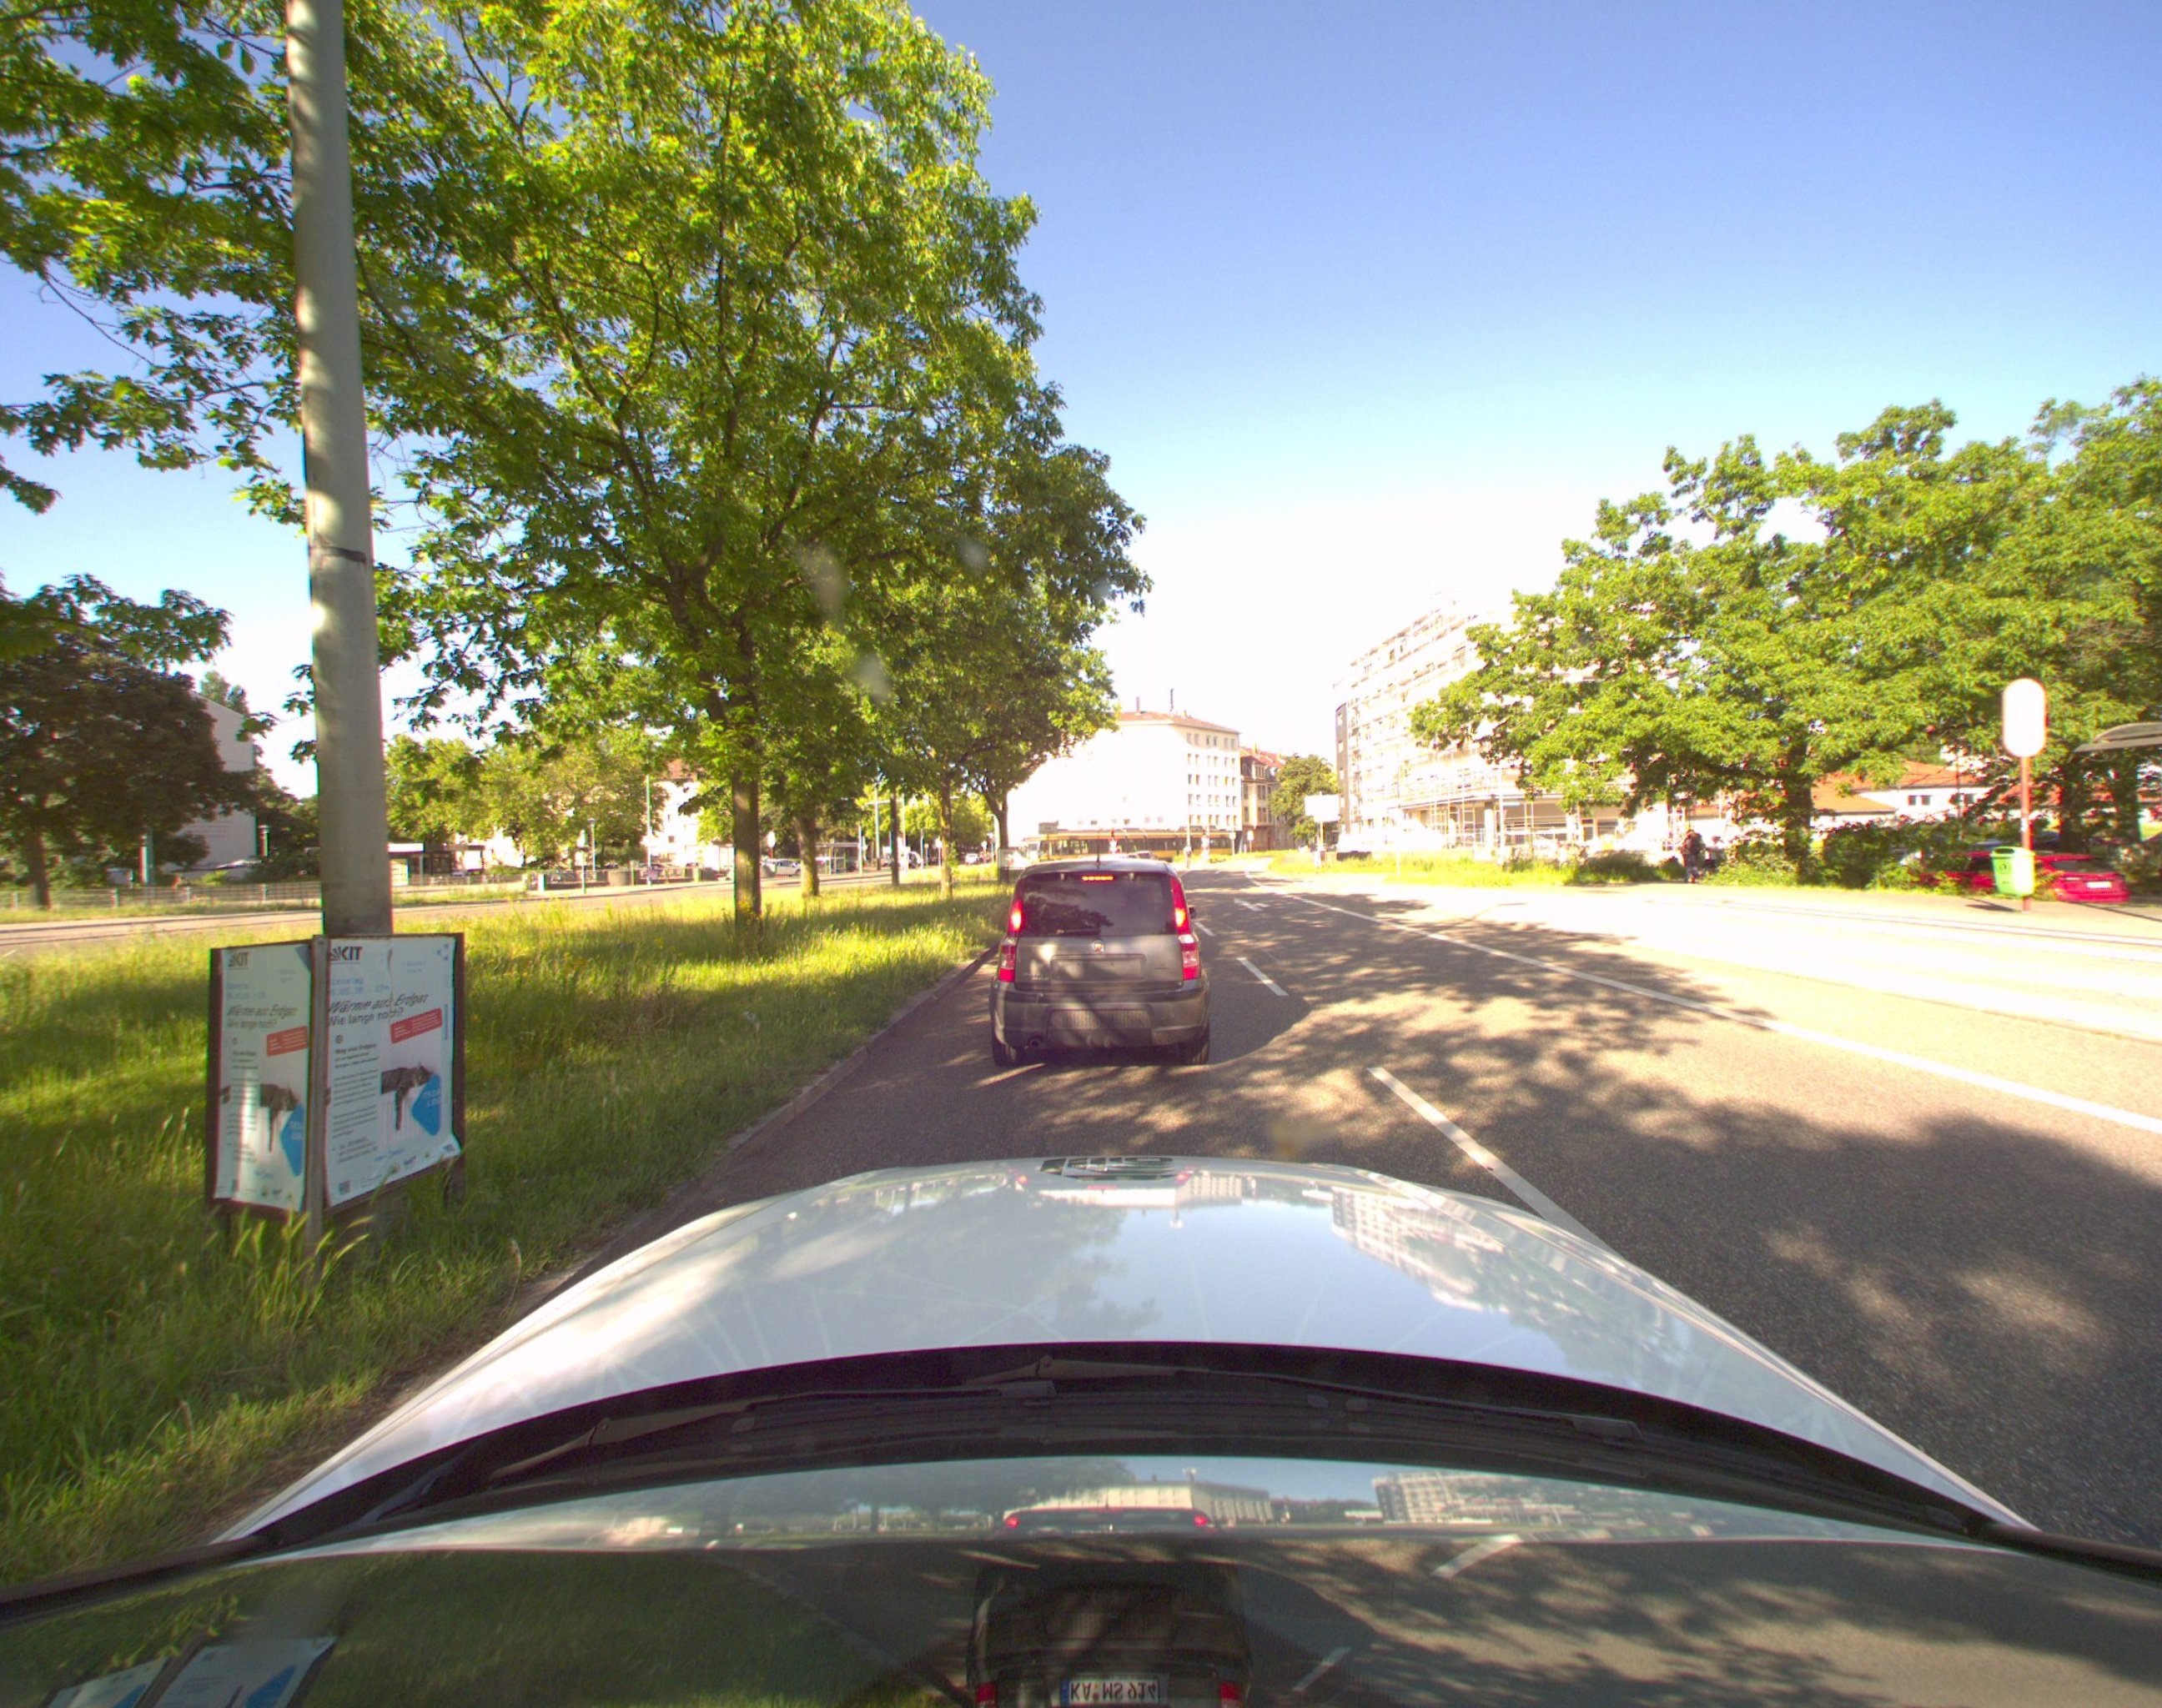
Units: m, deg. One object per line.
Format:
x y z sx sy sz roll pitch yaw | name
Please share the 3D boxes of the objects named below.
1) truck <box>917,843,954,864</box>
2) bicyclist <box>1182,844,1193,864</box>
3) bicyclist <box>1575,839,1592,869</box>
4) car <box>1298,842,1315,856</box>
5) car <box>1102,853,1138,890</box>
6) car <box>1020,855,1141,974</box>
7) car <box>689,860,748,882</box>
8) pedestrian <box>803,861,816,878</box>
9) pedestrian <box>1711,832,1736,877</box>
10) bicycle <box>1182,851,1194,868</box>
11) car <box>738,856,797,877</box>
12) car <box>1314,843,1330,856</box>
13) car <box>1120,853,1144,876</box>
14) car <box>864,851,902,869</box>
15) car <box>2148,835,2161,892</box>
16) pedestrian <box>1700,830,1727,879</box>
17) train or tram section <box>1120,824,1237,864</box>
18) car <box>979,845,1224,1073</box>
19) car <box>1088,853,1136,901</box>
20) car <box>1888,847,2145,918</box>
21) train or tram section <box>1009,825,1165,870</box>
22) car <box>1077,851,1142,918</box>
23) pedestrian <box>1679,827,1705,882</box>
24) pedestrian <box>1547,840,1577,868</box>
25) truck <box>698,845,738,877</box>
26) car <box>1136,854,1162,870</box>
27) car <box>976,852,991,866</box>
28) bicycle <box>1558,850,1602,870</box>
-23.003 -0.138 128.579 5.425 3.168 2.358 -2 0 30 | truck
7.591 0.025 58.272 0.738 1.438 0.846 0 -1 4 | bicyclist
25.054 0.009 40.621 0.579 1.493 0.553 -2 0 17 | bicyclist
24.918 -0.534 90.002 1.669 1.449 3.588 -2 0 18 | car
1.601 0.692 33.974 1.351 1.449 3.267 -2 0 2 | car
0.047 0.746 11.770 1.458 1.401 3.395 -2 0 2 | car
-30.217 1.409 67.995 1.974 1.684 4.025 -2 0 40 | car
-26.236 1.484 78.589 0.910 1.607 0.802 -2 0 41 | pedestrian
20.920 0.014 26.525 0.516 1.447 0.595 -2 0 28 | pedestrian
7.616 0.401 58.204 0.705 1.198 2.523 0 -1 4 | bicycle
-27.317 1.069 71.076 1.974 1.684 4.348 -2 0 40 | car
27.744 -0.530 93.564 1.514 1.314 3.304 -2 0 20 | car
3.096 0.621 49.684 1.351 1.281 2.877 -2 0 2 | car
-23.995 0.721 98.757 4.164 2.013 1.931 -2 0 -1 | car
29.860 0.214 20.183 1.911 1.486 3.725 -2 0 -17 | car
19.329 0.012 24.903 0.516 1.447 0.595 -2 0 28 | pedestrian
10.976 -1.141 87.184 3.263 3.770 20.943 -2 0 33 | train or tram section
0.203 0.702 7.542 1.622 1.508 4.002 -2 0 2 | car
1.029 0.727 27.421 1.458 1.424 3.383 -2 0 2 | car
21.985 0.598 19.380 1.747 1.486 3.743 -2 0 -2 | car
1.230 -0.720 73.040 3.263 3.513 19.509 -2 0 35 | train or tram section
0.724 0.697 20.801 1.458 1.508 3.506 -2 0 2 | car
18.548 0.014 24.728 0.516 1.612 0.595 -2 0 28 | pedestrian
25.267 0.008 42.801 0.893 1.447 0.962 -2 0 -13 | pedestrian
-33.074 0.633 74.212 2.012 2.805 3.951 -2 0 -44 | truck
4.866 0.576 57.723 1.133 1.064 2.735 -2 0 19 | car
-14.836 0.735 124.168 1.988 2.013 3.997 -2 0 -2 | car
24.921 0.311 40.686 1.776 0.945 0.562 -2 0 16 | bicycle
